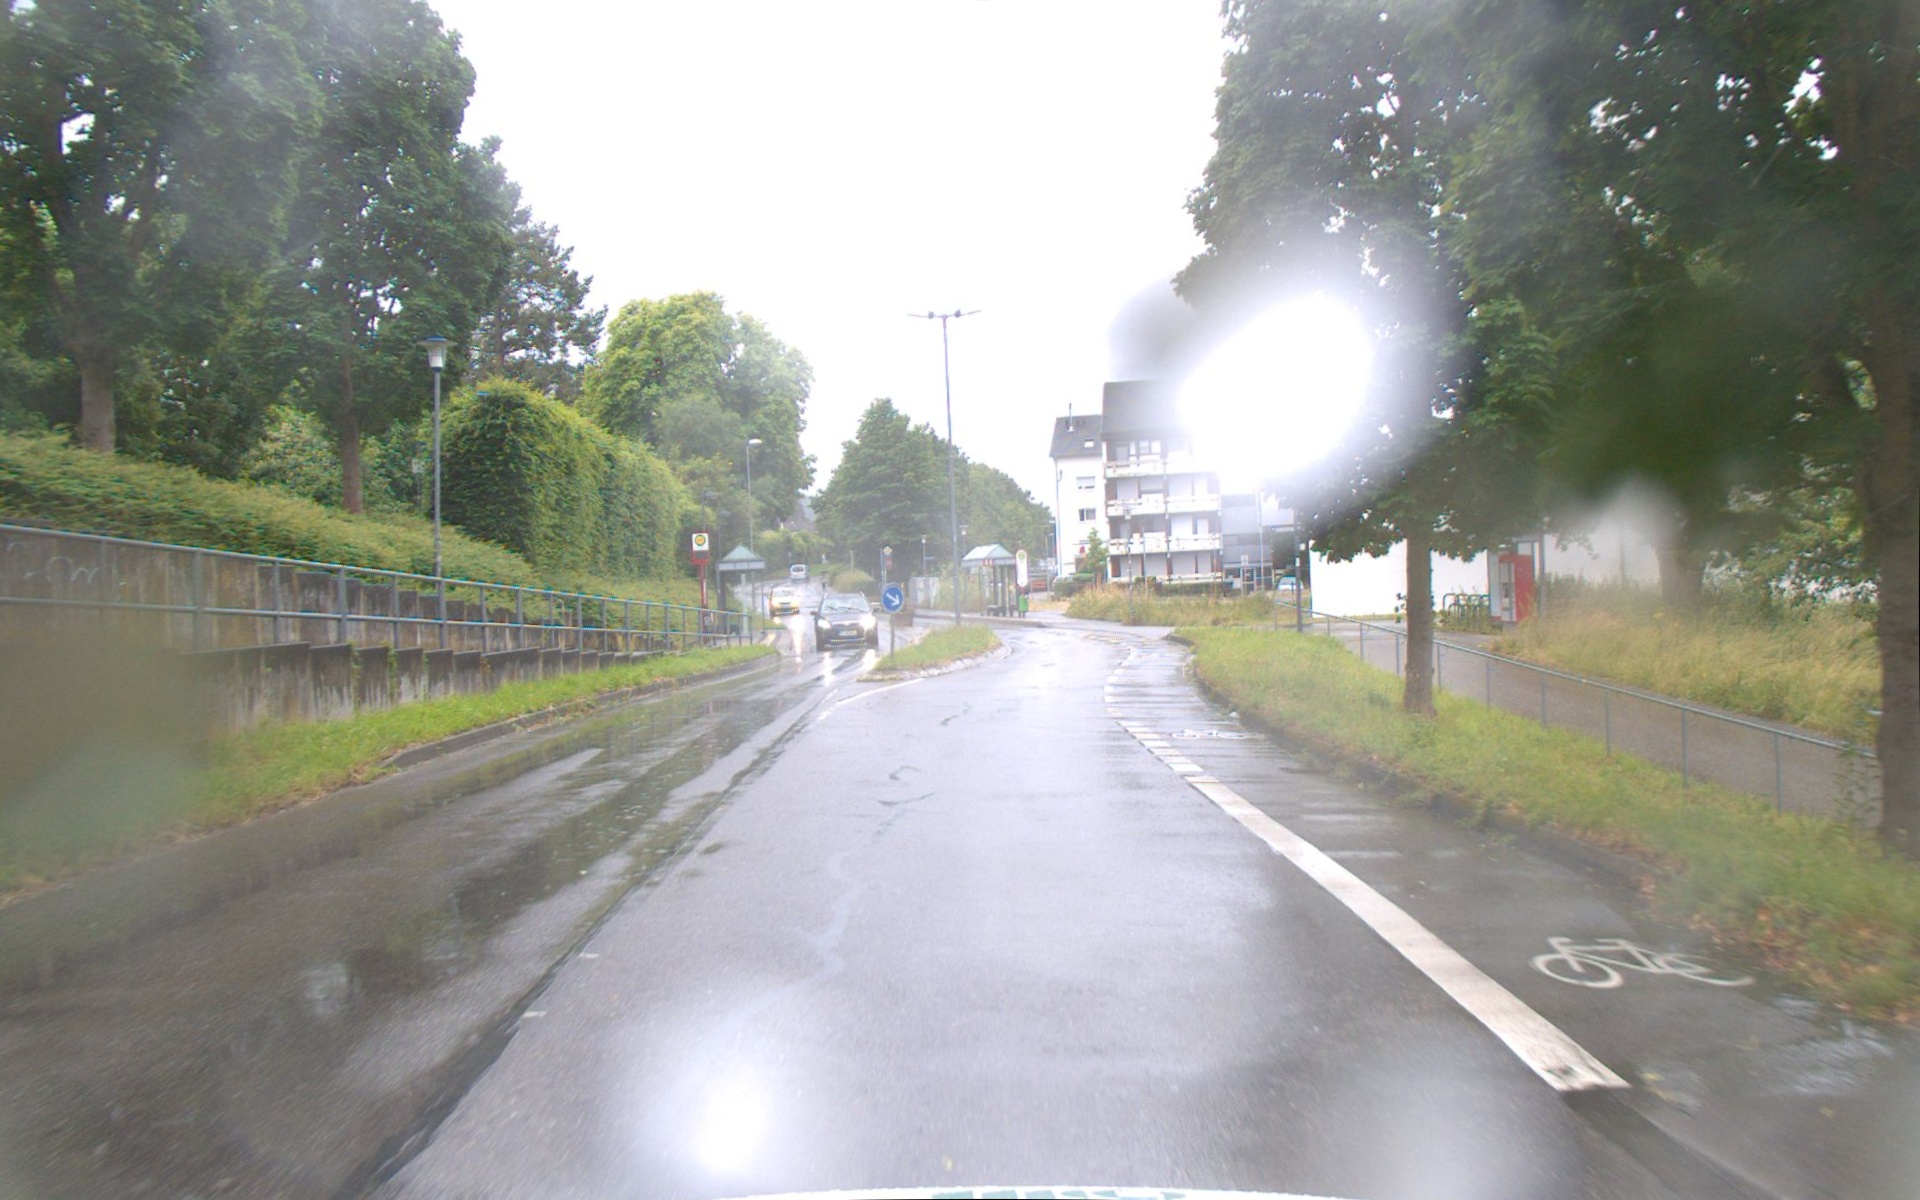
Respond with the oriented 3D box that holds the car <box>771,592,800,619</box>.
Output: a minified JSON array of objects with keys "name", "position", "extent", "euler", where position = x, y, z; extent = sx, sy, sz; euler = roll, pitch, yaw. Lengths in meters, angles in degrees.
[{"name":"car","position":[-10.210,0.305,96.824],"extent":[1.543,1.434,3.468],"euler":[-4,1,-7]}]

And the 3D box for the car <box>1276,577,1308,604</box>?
[{"name":"car","position":[20.135,-0.557,100.345],"extent":[1.679,1.466,3.709],"euler":[-2,-2,9]}]

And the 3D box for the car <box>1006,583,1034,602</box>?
[{"name":"car","position":[4.969,-0.625,137.518],"extent":[1.657,1.463,3.605],"euler":[-2,2,-8]}]

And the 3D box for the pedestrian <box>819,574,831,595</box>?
[{"name":"pedestrian","position":[-11.455,-1.307,140.249],"extent":[0.903,1.704,1.055],"euler":[-4,2,-8]}]

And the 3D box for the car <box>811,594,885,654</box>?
[{"name":"car","position":[-3.127,0.645,47.008],"extent":[1.725,1.529,4.141],"euler":[-3,0,0]}]
